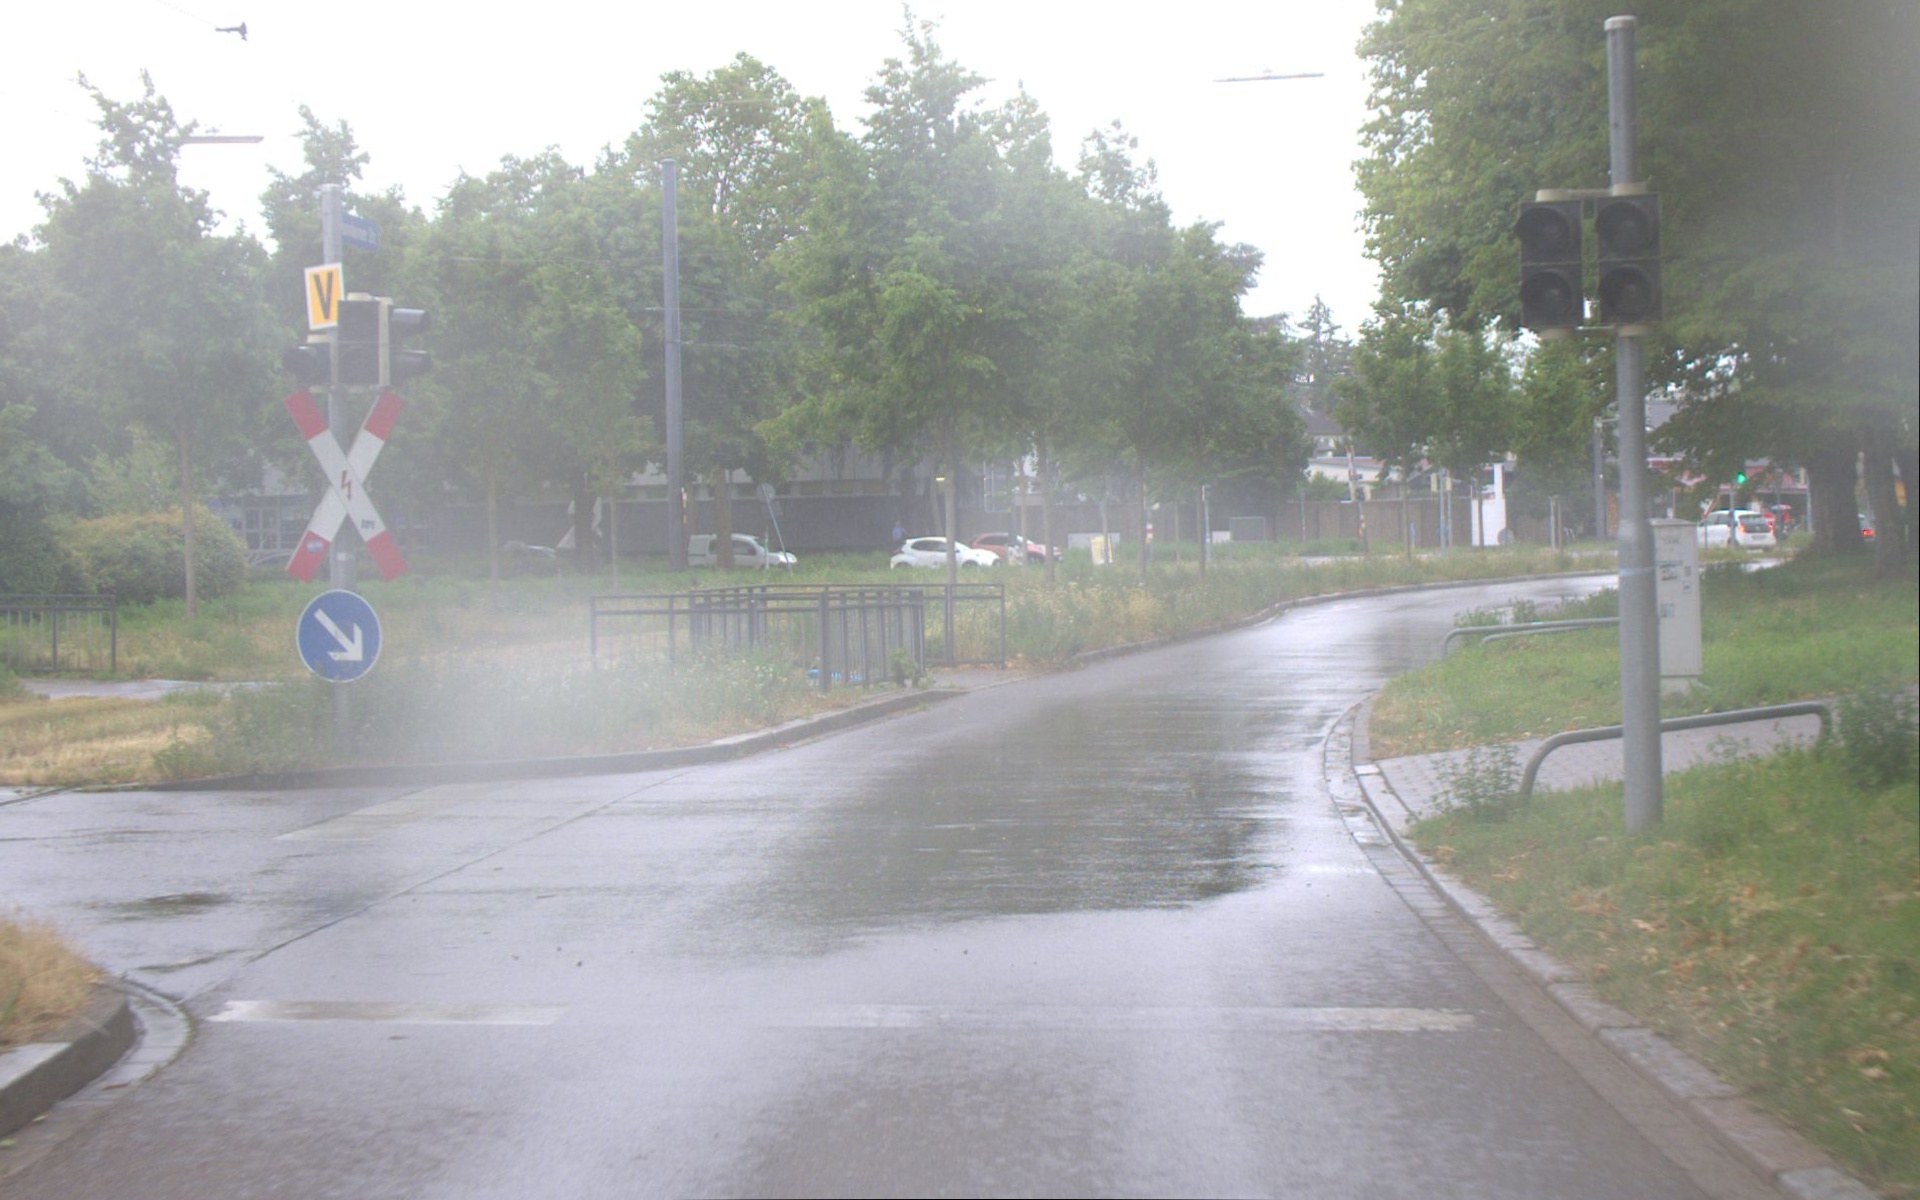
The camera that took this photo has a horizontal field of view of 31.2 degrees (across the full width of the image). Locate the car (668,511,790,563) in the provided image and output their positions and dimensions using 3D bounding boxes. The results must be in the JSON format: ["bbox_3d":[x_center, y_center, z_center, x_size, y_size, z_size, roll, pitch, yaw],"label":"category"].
[{"bbox_3d":[-8.613,-2.361,128.315,4.212,1.790,1.651,-1,2,15],"label":"car"}]

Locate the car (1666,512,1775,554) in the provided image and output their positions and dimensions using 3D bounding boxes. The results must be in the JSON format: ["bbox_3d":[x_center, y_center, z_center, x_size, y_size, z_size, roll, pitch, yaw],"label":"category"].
[{"bbox_3d":[27.182,-2.383,122.996,1.533,1.415,4.000,-3,2,-29],"label":"car"}]

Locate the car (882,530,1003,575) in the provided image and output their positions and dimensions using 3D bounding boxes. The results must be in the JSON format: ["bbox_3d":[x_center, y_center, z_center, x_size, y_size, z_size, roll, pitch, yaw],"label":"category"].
[{"bbox_3d":[-0.630,-1.732,125.642,4.068,1.494,1.651,-2,1,16],"label":"car"}]

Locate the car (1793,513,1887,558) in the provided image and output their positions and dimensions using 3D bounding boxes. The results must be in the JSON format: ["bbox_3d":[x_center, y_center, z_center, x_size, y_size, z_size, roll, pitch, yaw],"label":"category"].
[{"bbox_3d":[28.804,-2.119,112.582,1.683,1.415,3.816,-2,1,-7],"label":"car"}]
